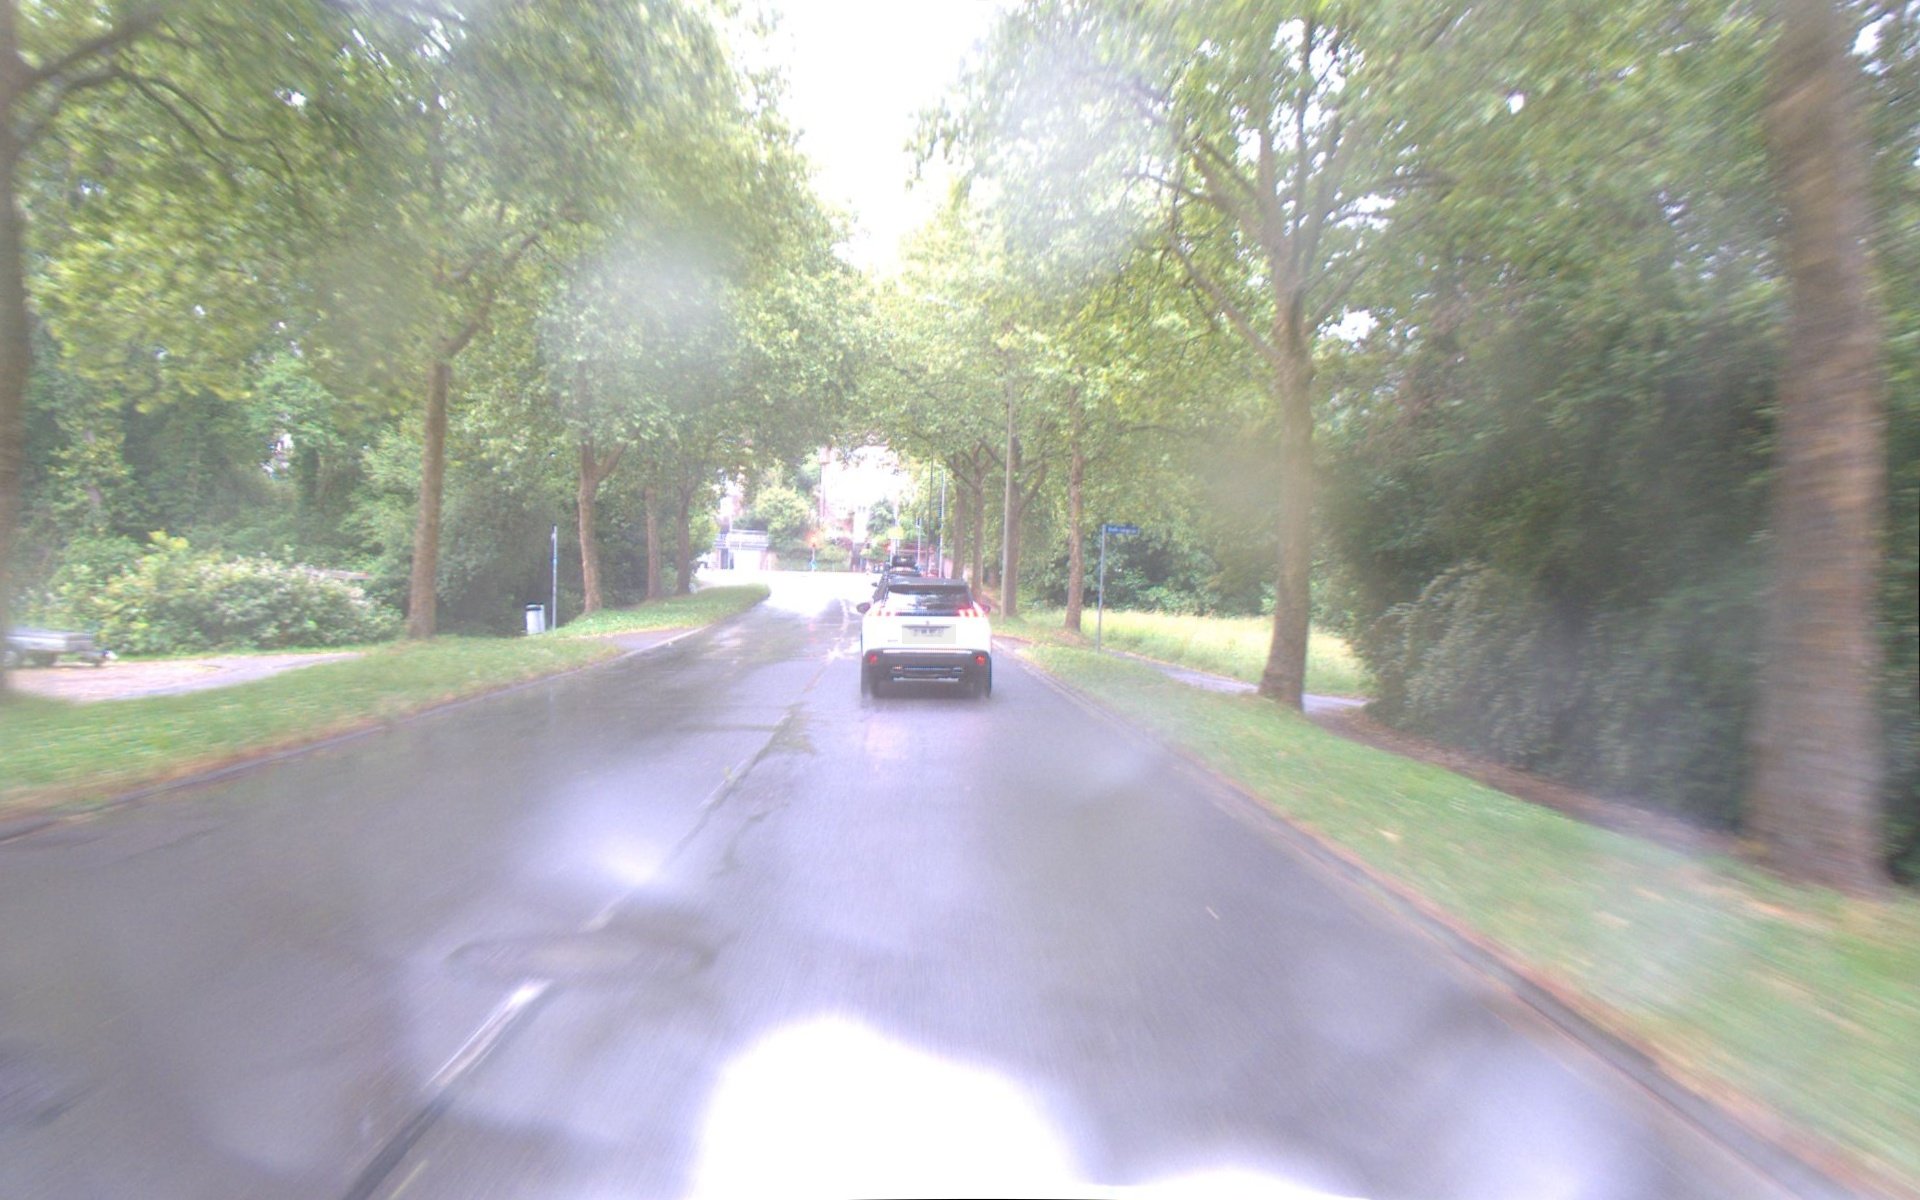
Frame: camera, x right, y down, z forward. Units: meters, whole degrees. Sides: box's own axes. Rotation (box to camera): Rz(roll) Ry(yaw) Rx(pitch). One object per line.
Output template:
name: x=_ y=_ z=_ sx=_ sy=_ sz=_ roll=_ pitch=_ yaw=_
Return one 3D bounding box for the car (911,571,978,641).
car: x=-0.394 y=0.136 z=41.128 sx=1.538 sy=1.620 sz=3.217 roll=2 pitch=0 yaw=-1

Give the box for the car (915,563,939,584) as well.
car: x=-2.748 y=-2.168 z=136.947 sx=1.789 sy=1.624 sz=3.655 roll=2 pitch=0 yaw=2

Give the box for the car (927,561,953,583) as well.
car: x=-1.512 y=-2.167 z=127.214 sx=1.789 sy=1.624 sz=3.655 roll=2 pitch=0 yaw=2

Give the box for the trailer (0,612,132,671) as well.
trailer: x=-20.445 y=0.902 z=36.472 sx=3.486 sy=1.199 sz=1.820 roll=0 pitch=1 yaw=-8

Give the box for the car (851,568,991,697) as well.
car: x=-0.567 y=0.386 z=23.066 sx=1.758 sy=1.606 sz=3.843 roll=2 pitch=1 yaw=-2
